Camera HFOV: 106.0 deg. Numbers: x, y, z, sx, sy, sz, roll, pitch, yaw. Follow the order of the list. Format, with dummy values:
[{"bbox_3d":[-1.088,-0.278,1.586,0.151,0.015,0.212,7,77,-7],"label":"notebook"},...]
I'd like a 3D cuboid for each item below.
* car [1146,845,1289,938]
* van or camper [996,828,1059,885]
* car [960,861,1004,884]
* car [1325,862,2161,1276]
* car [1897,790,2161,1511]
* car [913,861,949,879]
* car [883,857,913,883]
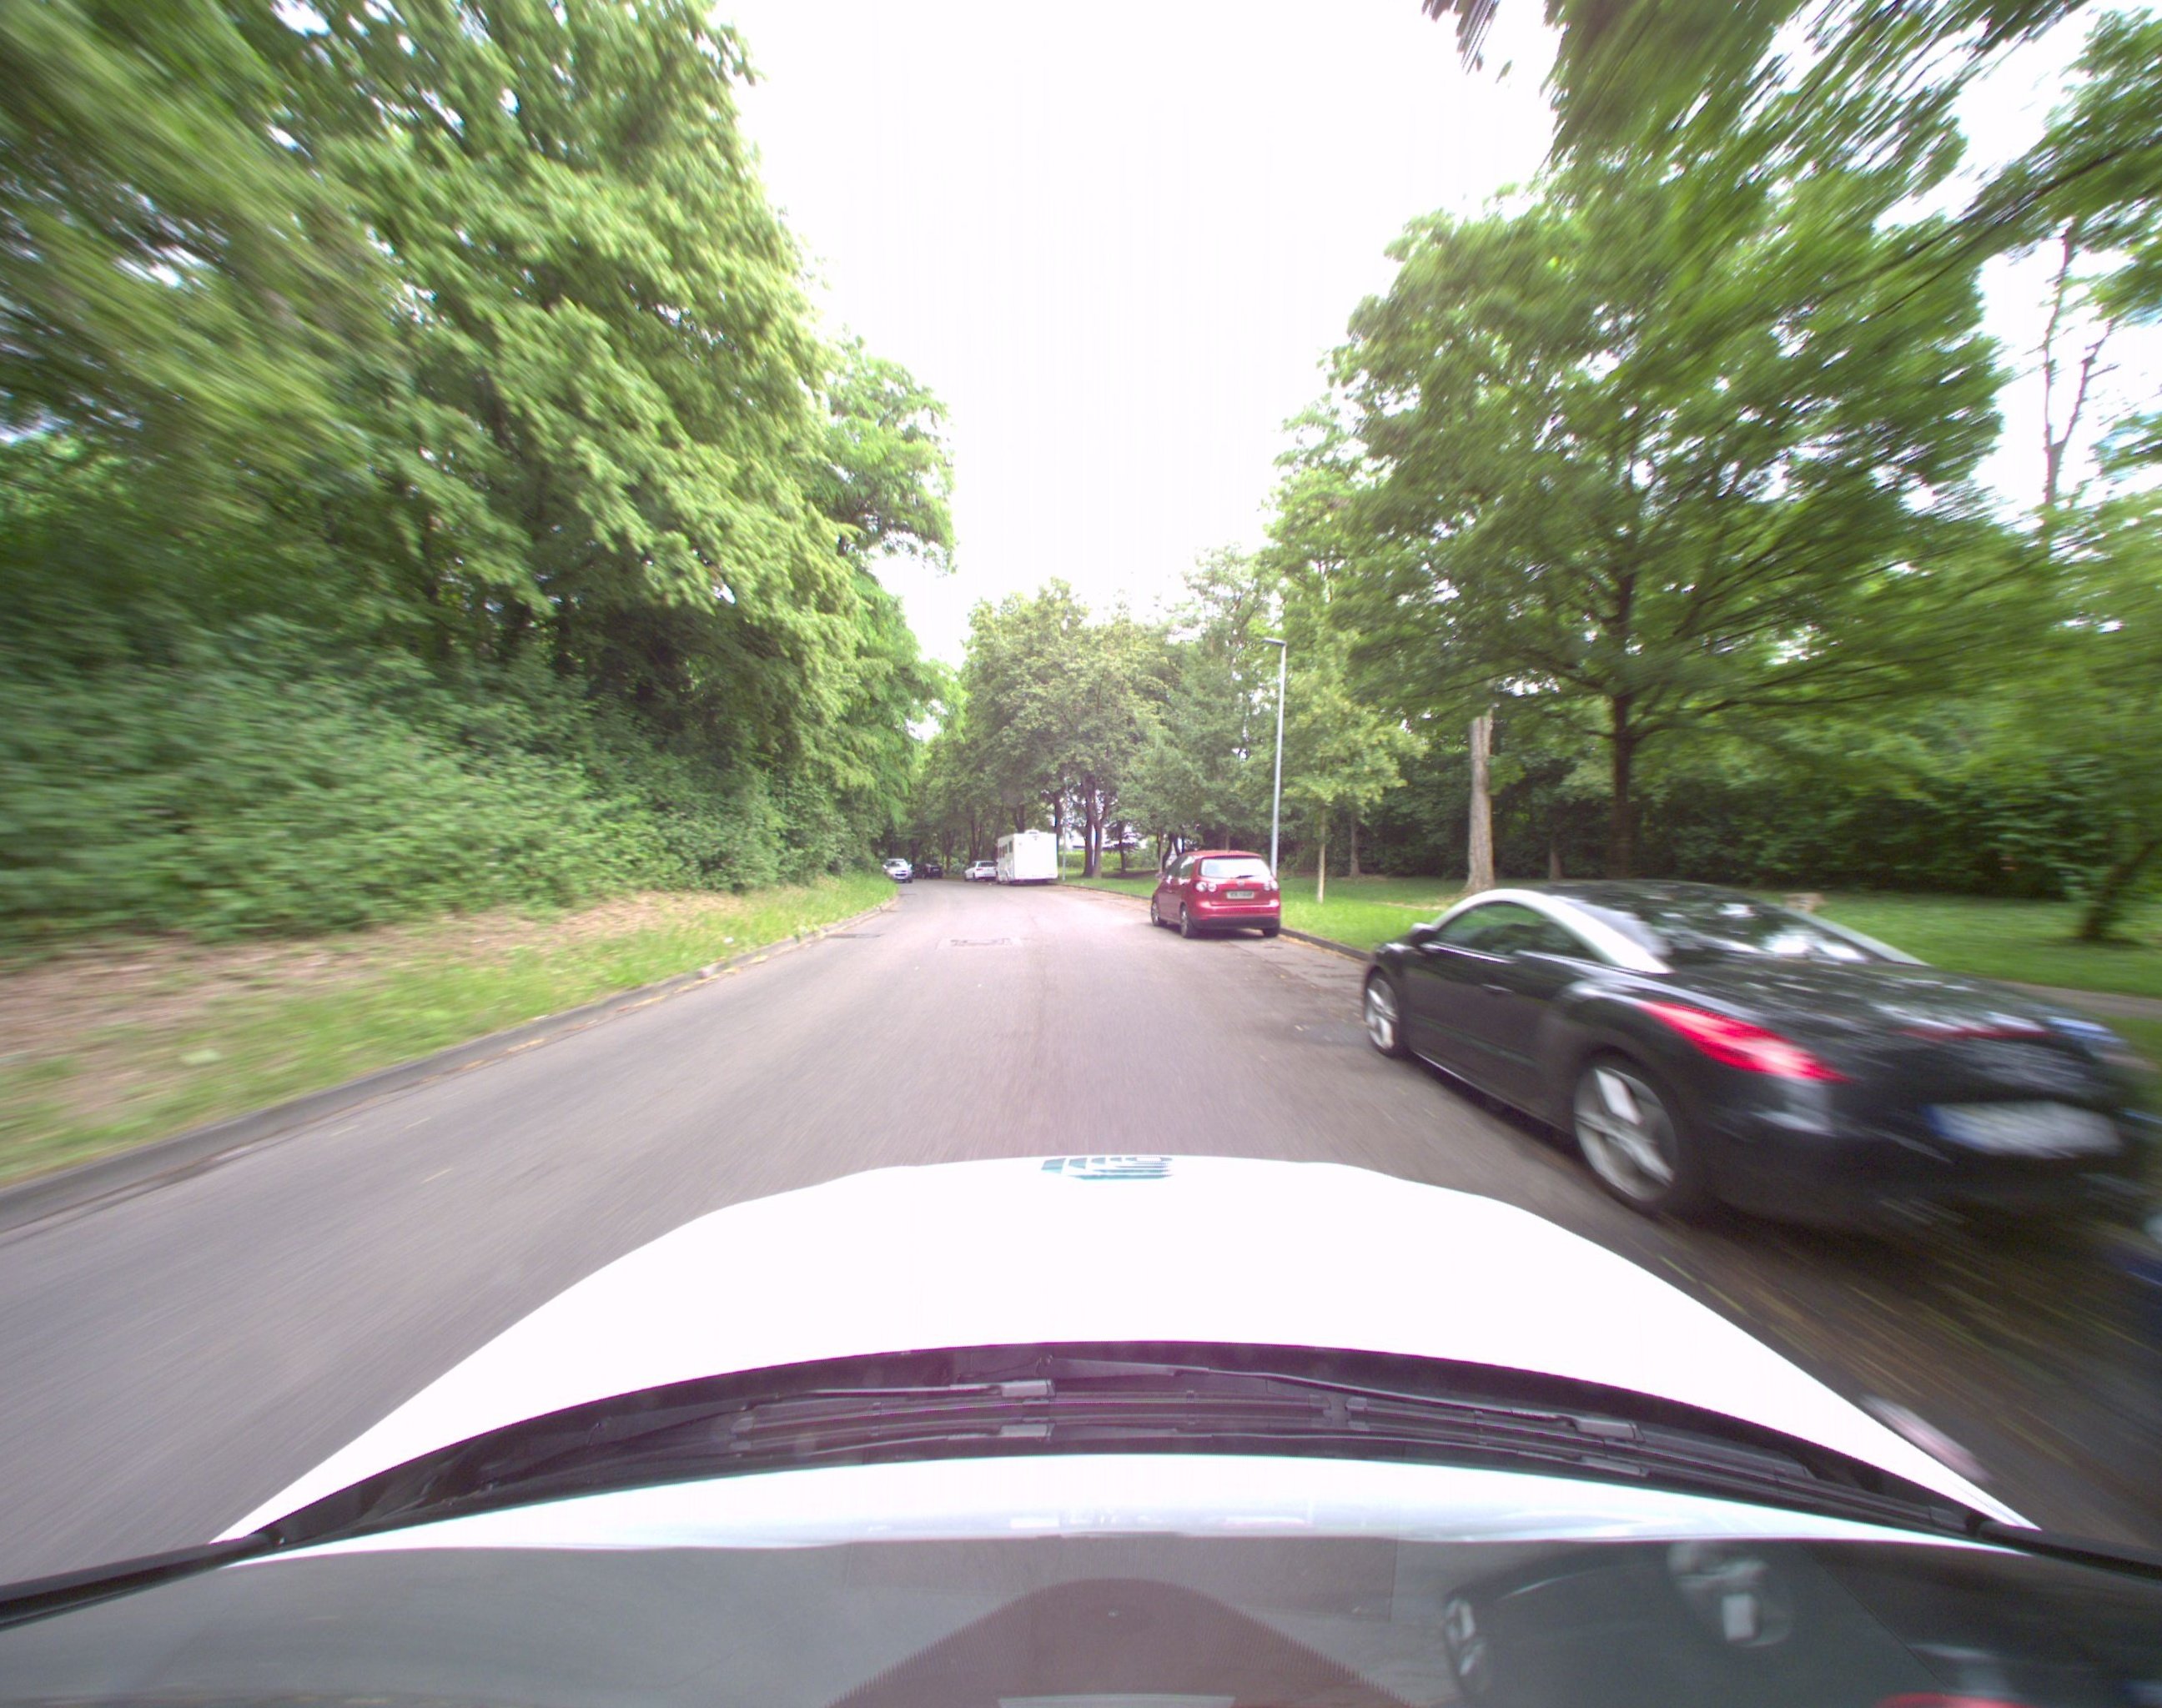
[{"bbox_3d":[2.488,0.652,15.870,1.736,1.562,3.991,0,-1,-6],"label":"car"},{"bbox_3d":[-3.076,0.110,45.374,2.434,3.007,5.180,-1,0,-16],"label":"van or camper"},{"bbox_3d":[-7.051,1.291,57.934,2.002,1.473,3.969,2,0,-24],"label":"car"},{"bbox_3d":[3.072,0.746,4.953,1.745,1.337,4.412,1,0,-2],"label":"car"},{"bbox_3d":[3.101,0.637,0.182,1.708,1.509,4.182,2,0,1],"label":"car"},{"bbox_3d":[-13.528,1.416,73.145,2.005,1.501,3.963,2,0,-29],"label":"car"},{"bbox_3d":[-12.921,1.094,57.334,1.861,1.663,4.547,-2,0,-15],"label":"car"}]
